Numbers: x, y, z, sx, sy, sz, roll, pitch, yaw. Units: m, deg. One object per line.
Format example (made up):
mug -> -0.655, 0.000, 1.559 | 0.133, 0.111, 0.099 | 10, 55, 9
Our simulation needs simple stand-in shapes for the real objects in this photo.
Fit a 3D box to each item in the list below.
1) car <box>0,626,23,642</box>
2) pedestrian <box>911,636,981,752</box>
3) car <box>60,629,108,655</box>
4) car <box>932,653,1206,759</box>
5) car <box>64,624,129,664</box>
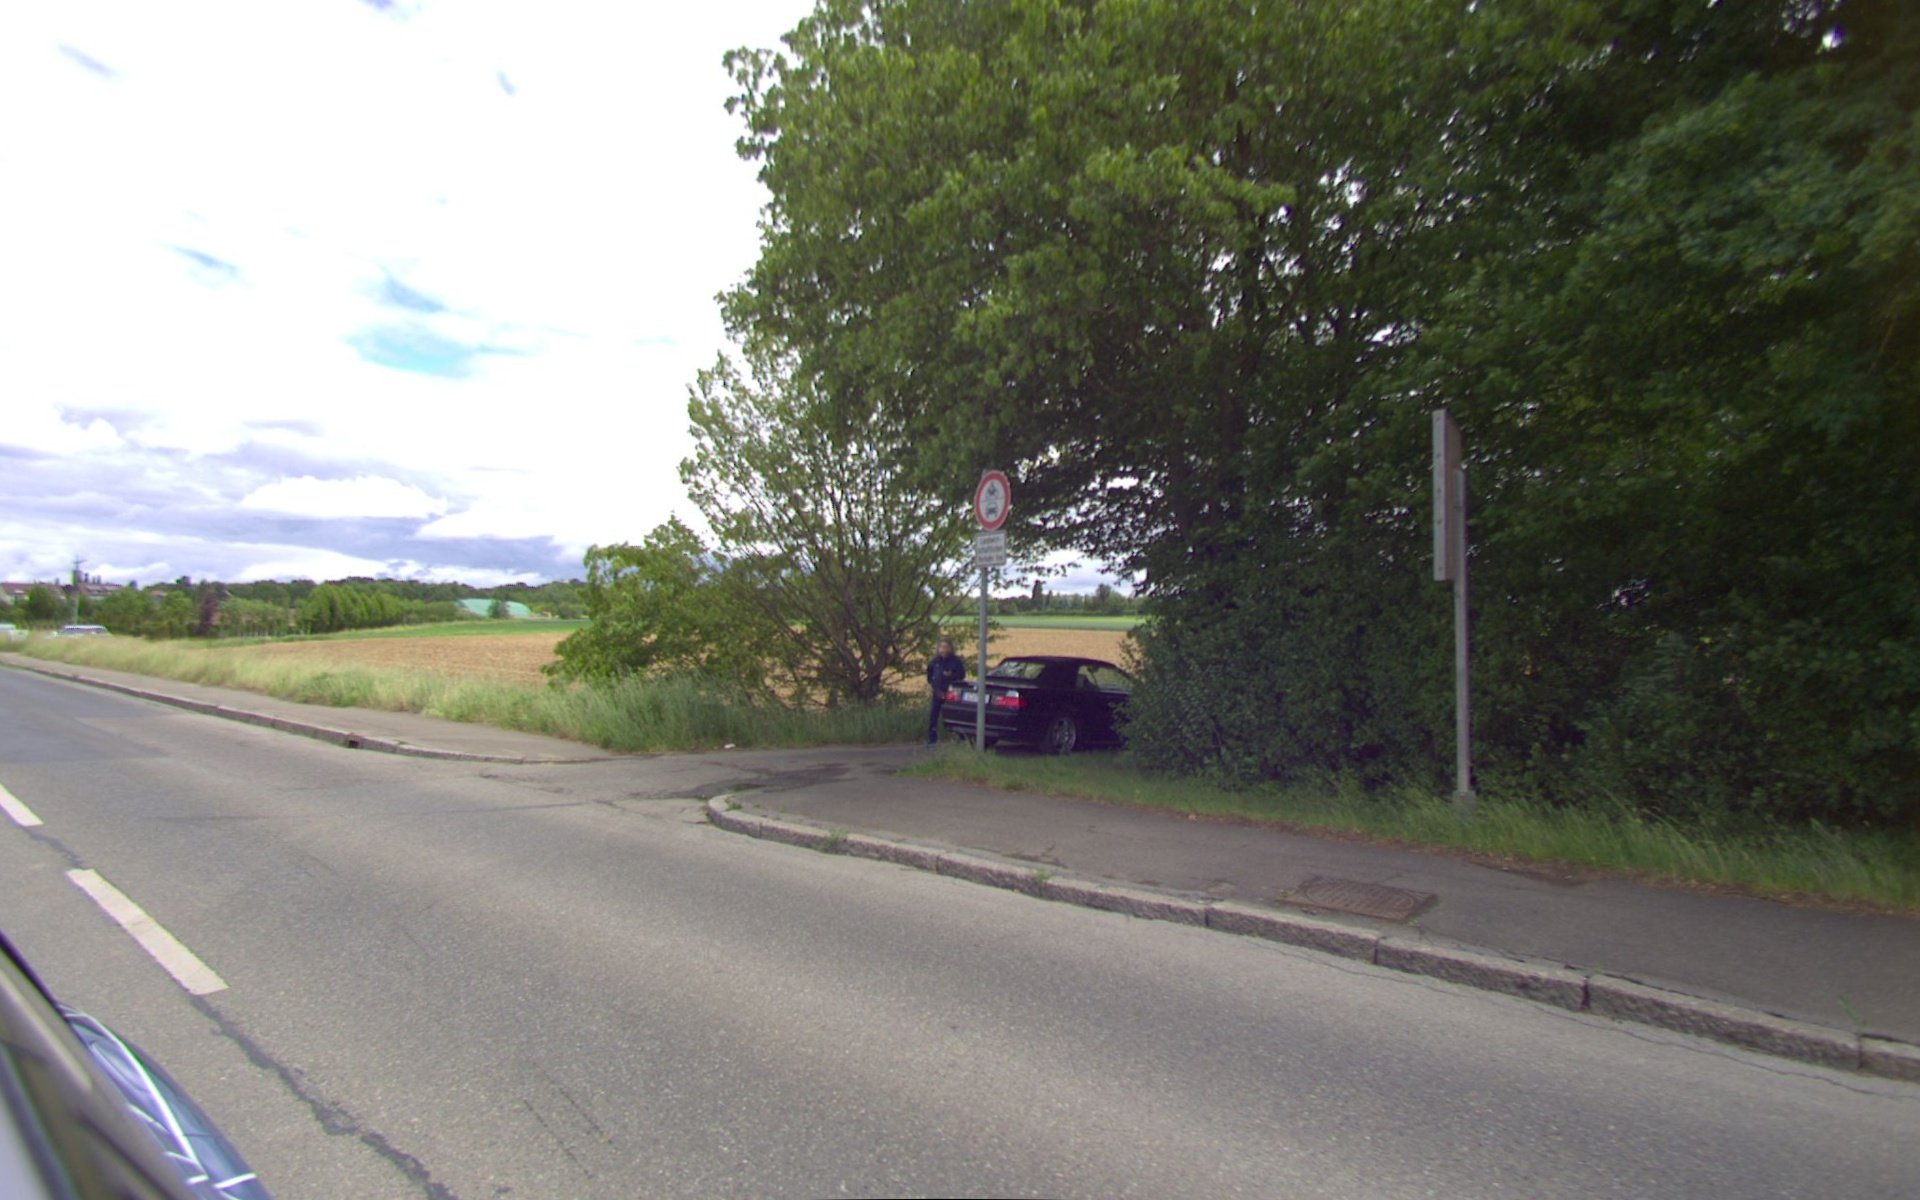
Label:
car -> -75.875, 2.682, 79.403 | 3.169, 1.260, 1.457 | 0, 0, -21
pedestrian -> -0.210, 1.340, 14.596 | 0.696, 1.606, 0.708 | 1, -4, -39
car -> -45.960, 2.174, 53.092 | 3.598, 1.260, 1.433 | -1, 0, 41
car -> 1.663, 1.481, 14.621 | 3.938, 1.321, 1.746 | 4, -6, -42
car -> -34.409, 1.714, 40.290 | 3.867, 1.459, 1.453 | -1, 0, 41
